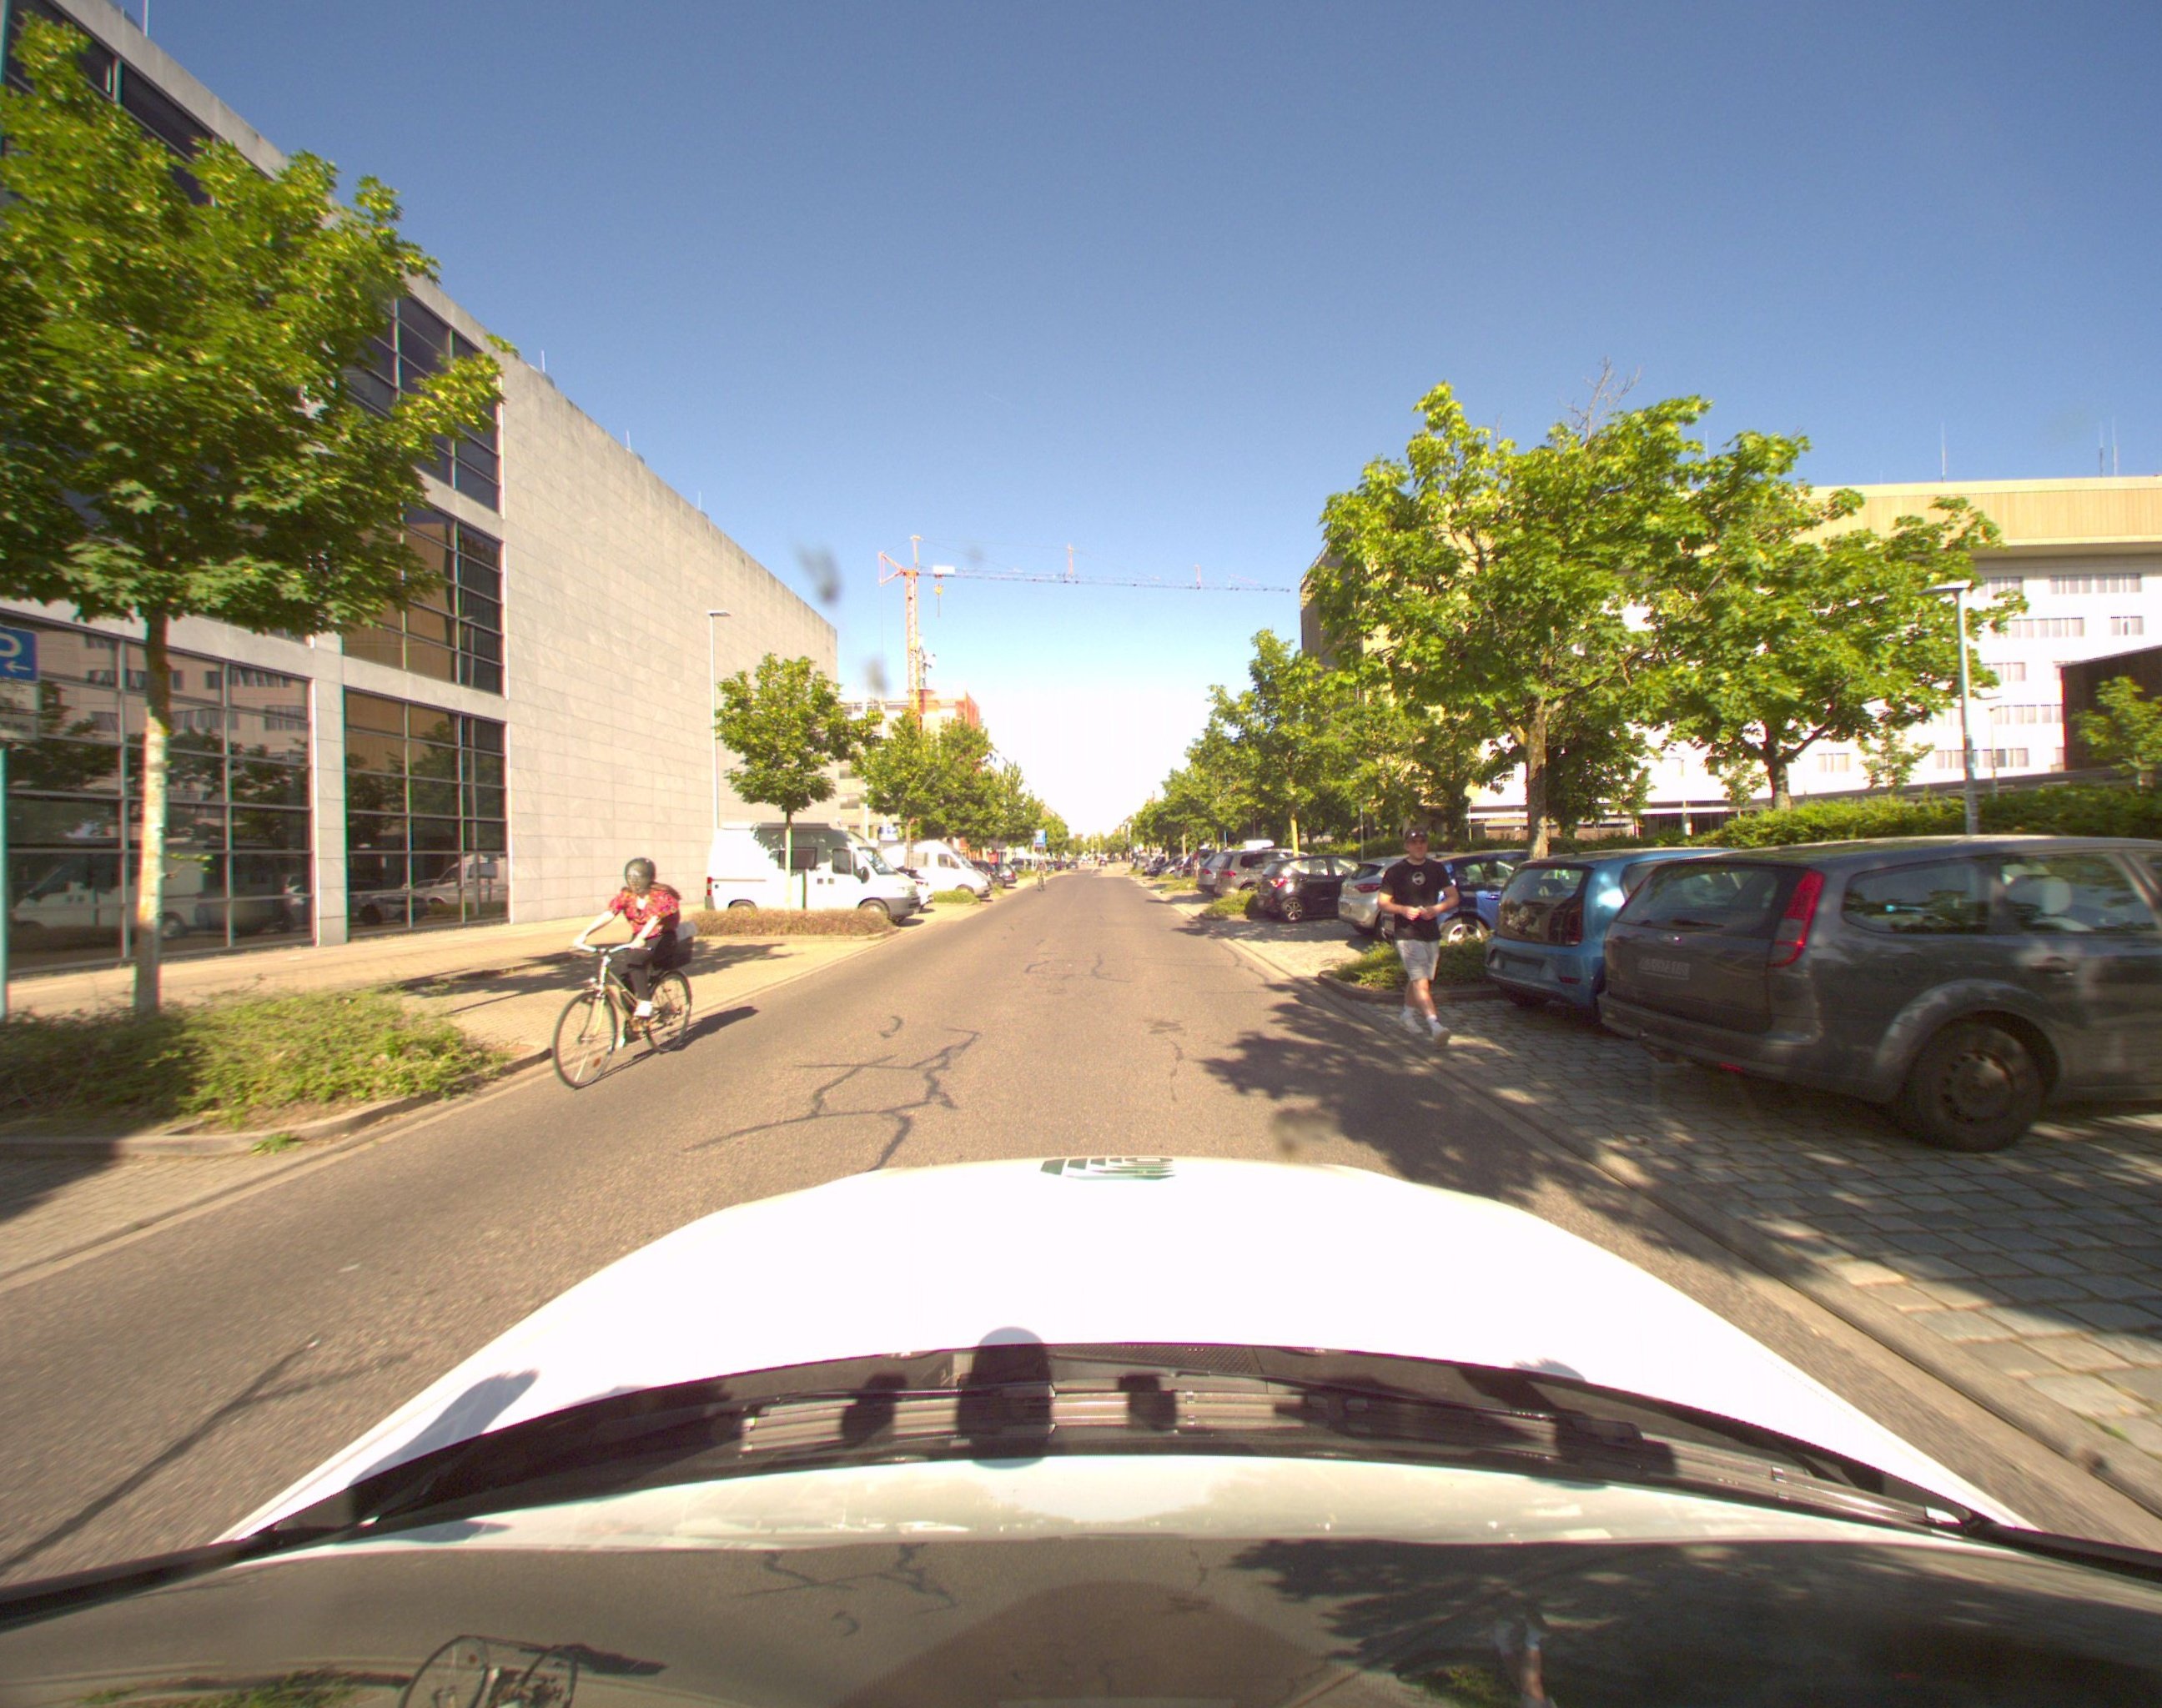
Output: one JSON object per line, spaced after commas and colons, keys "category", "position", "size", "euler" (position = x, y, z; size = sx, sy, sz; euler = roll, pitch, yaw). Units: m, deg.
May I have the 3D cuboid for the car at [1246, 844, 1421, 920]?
{"category": "car", "position": [5.757, 0.633, 18.847], "size": [3.442, 1.489, 1.746], "euler": [-3, -1, -1]}

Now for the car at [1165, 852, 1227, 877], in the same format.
{"category": "car", "position": [7.710, 0.699, 54.713], "size": [3.851, 1.504, 1.651], "euler": [-2, 0, -1]}

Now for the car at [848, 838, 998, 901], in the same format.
{"category": "car", "position": [-6.215, 0.588, 32.391], "size": [5.528, 2.410, 1.989], "euler": [0, 0, 3]}

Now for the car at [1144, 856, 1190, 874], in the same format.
{"category": "car", "position": [7.482, 0.971, 71.141], "size": [3.753, 1.459, 1.818], "euler": [-2, -1, 1]}

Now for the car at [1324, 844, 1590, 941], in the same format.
{"category": "car", "position": [6.307, 0.625, 14.016], "size": [3.717, 1.416, 1.843], "euler": [-2, 0, 2]}

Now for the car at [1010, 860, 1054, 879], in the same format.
{"category": "car", "position": [-4.880, 1.523, 81.431], "size": [4.247, 1.665, 1.599], "euler": [-2, 0, 0]}

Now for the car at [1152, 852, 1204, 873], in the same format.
{"category": "car", "position": [7.887, 0.718, 66.477], "size": [3.972, 1.582, 2.032], "euler": [-2, -1, 1]}

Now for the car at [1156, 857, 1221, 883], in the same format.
{"category": "car", "position": [6.819, 1.021, 51.890], "size": [3.887, 1.486, 1.743], "euler": [-2, 0, 0]}

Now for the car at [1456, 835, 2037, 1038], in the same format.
{"category": "car", "position": [5.671, 0.636, 7.270], "size": [3.887, 1.468, 1.621], "euler": [-2, 1, -1]}

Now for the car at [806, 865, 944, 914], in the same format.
{"category": "car", "position": [-6.469, 1.092, 25.857], "size": [3.814, 1.472, 1.850], "euler": [0, 0, 3]}

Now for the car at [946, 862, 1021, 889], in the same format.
{"category": "car", "position": [-5.595, 1.235, 46.939], "size": [4.119, 1.492, 1.868], "euler": [0, 1, -2]}

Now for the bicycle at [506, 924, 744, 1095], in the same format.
{"category": "bicycle", "position": [-3.575, 1.168, 6.622], "size": [0.754, 1.002, 1.873], "euler": [-3, 0, 3]}

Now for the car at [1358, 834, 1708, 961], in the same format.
{"category": "car", "position": [6.161, 0.571, 11.483], "size": [3.879, 1.497, 1.843], "euler": [-2, 0, 2]}

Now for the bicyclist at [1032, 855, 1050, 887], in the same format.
{"category": "bicyclist", "position": [-2.038, 0.860, 41.898], "size": [0.680, 1.581, 1.063], "euler": [-3, -1, 6]}

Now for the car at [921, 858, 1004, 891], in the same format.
{"category": "car", "position": [-6.133, 1.048, 42.413], "size": [3.969, 1.664, 1.830], "euler": [0, -1, 4]}

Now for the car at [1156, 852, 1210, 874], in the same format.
{"category": "car", "position": [7.969, 0.692, 63.739], "size": [3.972, 1.538, 1.862], "euler": [-2, -1, 1]}

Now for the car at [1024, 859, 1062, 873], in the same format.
{"category": "car", "position": [-4.470, 1.394, 96.240], "size": [4.320, 1.474, 1.816], "euler": [-2, 0, -2]}

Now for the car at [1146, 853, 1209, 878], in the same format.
{"category": "car", "position": [6.719, 0.788, 56.910], "size": [4.131, 1.580, 1.740], "euler": [-3, 0, 0]}

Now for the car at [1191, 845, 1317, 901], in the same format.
{"category": "car", "position": [5.849, 0.612, 27.894], "size": [3.887, 1.695, 1.940], "euler": [-2, 1, -1]}

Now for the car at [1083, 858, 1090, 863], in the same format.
{"category": "car", "position": [1.770, 2.016, 257.429], "size": [1.804, 1.474, 4.113], "euler": [-2, 1, 2]}

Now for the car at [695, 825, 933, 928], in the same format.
{"category": "car", "position": [-6.570, 0.536, 20.473], "size": [5.228, 2.418, 2.124], "euler": [0, 0, 2]}

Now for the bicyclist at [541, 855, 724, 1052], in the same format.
{"category": "bicyclist", "position": [-3.601, 0.748, 6.647], "size": [0.754, 1.431, 1.133], "euler": [-3, -1, 3]}

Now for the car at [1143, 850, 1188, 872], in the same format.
{"category": "car", "position": [7.822, 0.635, 75.250], "size": [3.972, 1.879, 1.683], "euler": [-2, 0, 1]}

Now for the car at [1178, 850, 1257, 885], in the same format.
{"category": "car", "position": [6.697, 0.658, 40.249], "size": [3.595, 1.549, 1.706], "euler": [-2, 1, -1]}

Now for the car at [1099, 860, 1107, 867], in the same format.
{"category": "car", "position": [4.746, 1.992, 175.398], "size": [1.804, 1.474, 4.113], "euler": [-2, 1, 2]}

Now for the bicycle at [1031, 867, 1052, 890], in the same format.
{"category": "bicycle", "position": [-2.024, 1.246, 41.841], "size": [0.694, 1.111, 2.083], "euler": [-3, -1, 6]}

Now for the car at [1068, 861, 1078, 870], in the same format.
{"category": "car", "position": [-1.448, 2.030, 148.826], "size": [1.806, 1.474, 4.111], "euler": [-2, 1, 0]}

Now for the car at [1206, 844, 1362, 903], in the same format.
{"category": "car", "position": [6.254, 0.586, 25.384], "size": [4.310, 1.608, 1.910], "euler": [-2, 0, -3]}

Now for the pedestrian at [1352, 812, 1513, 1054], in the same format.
{"category": "pedestrian", "position": [2.823, 0.595, 6.681], "size": [0.716, 1.771, 1.168], "euler": [-3, -1, 0]}

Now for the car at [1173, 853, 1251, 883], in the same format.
{"category": "car", "position": [7.168, 0.763, 44.840], "size": [4.045, 1.426, 1.743], "euler": [-3, -1, 2]}

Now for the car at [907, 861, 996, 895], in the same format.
{"category": "car", "position": [-6.342, 1.165, 40.071], "size": [3.972, 1.517, 1.856], "euler": [-2, -1, 2]}

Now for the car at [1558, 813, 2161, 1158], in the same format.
{"category": "car", "position": [5.379, 0.572, 4.732], "size": [4.173, 1.519, 1.736], "euler": [-3, 0, -1]}

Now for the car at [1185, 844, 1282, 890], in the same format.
{"category": "car", "position": [6.991, 0.567, 37.626], "size": [4.106, 1.927, 1.978], "euler": [-2, 1, -1]}
